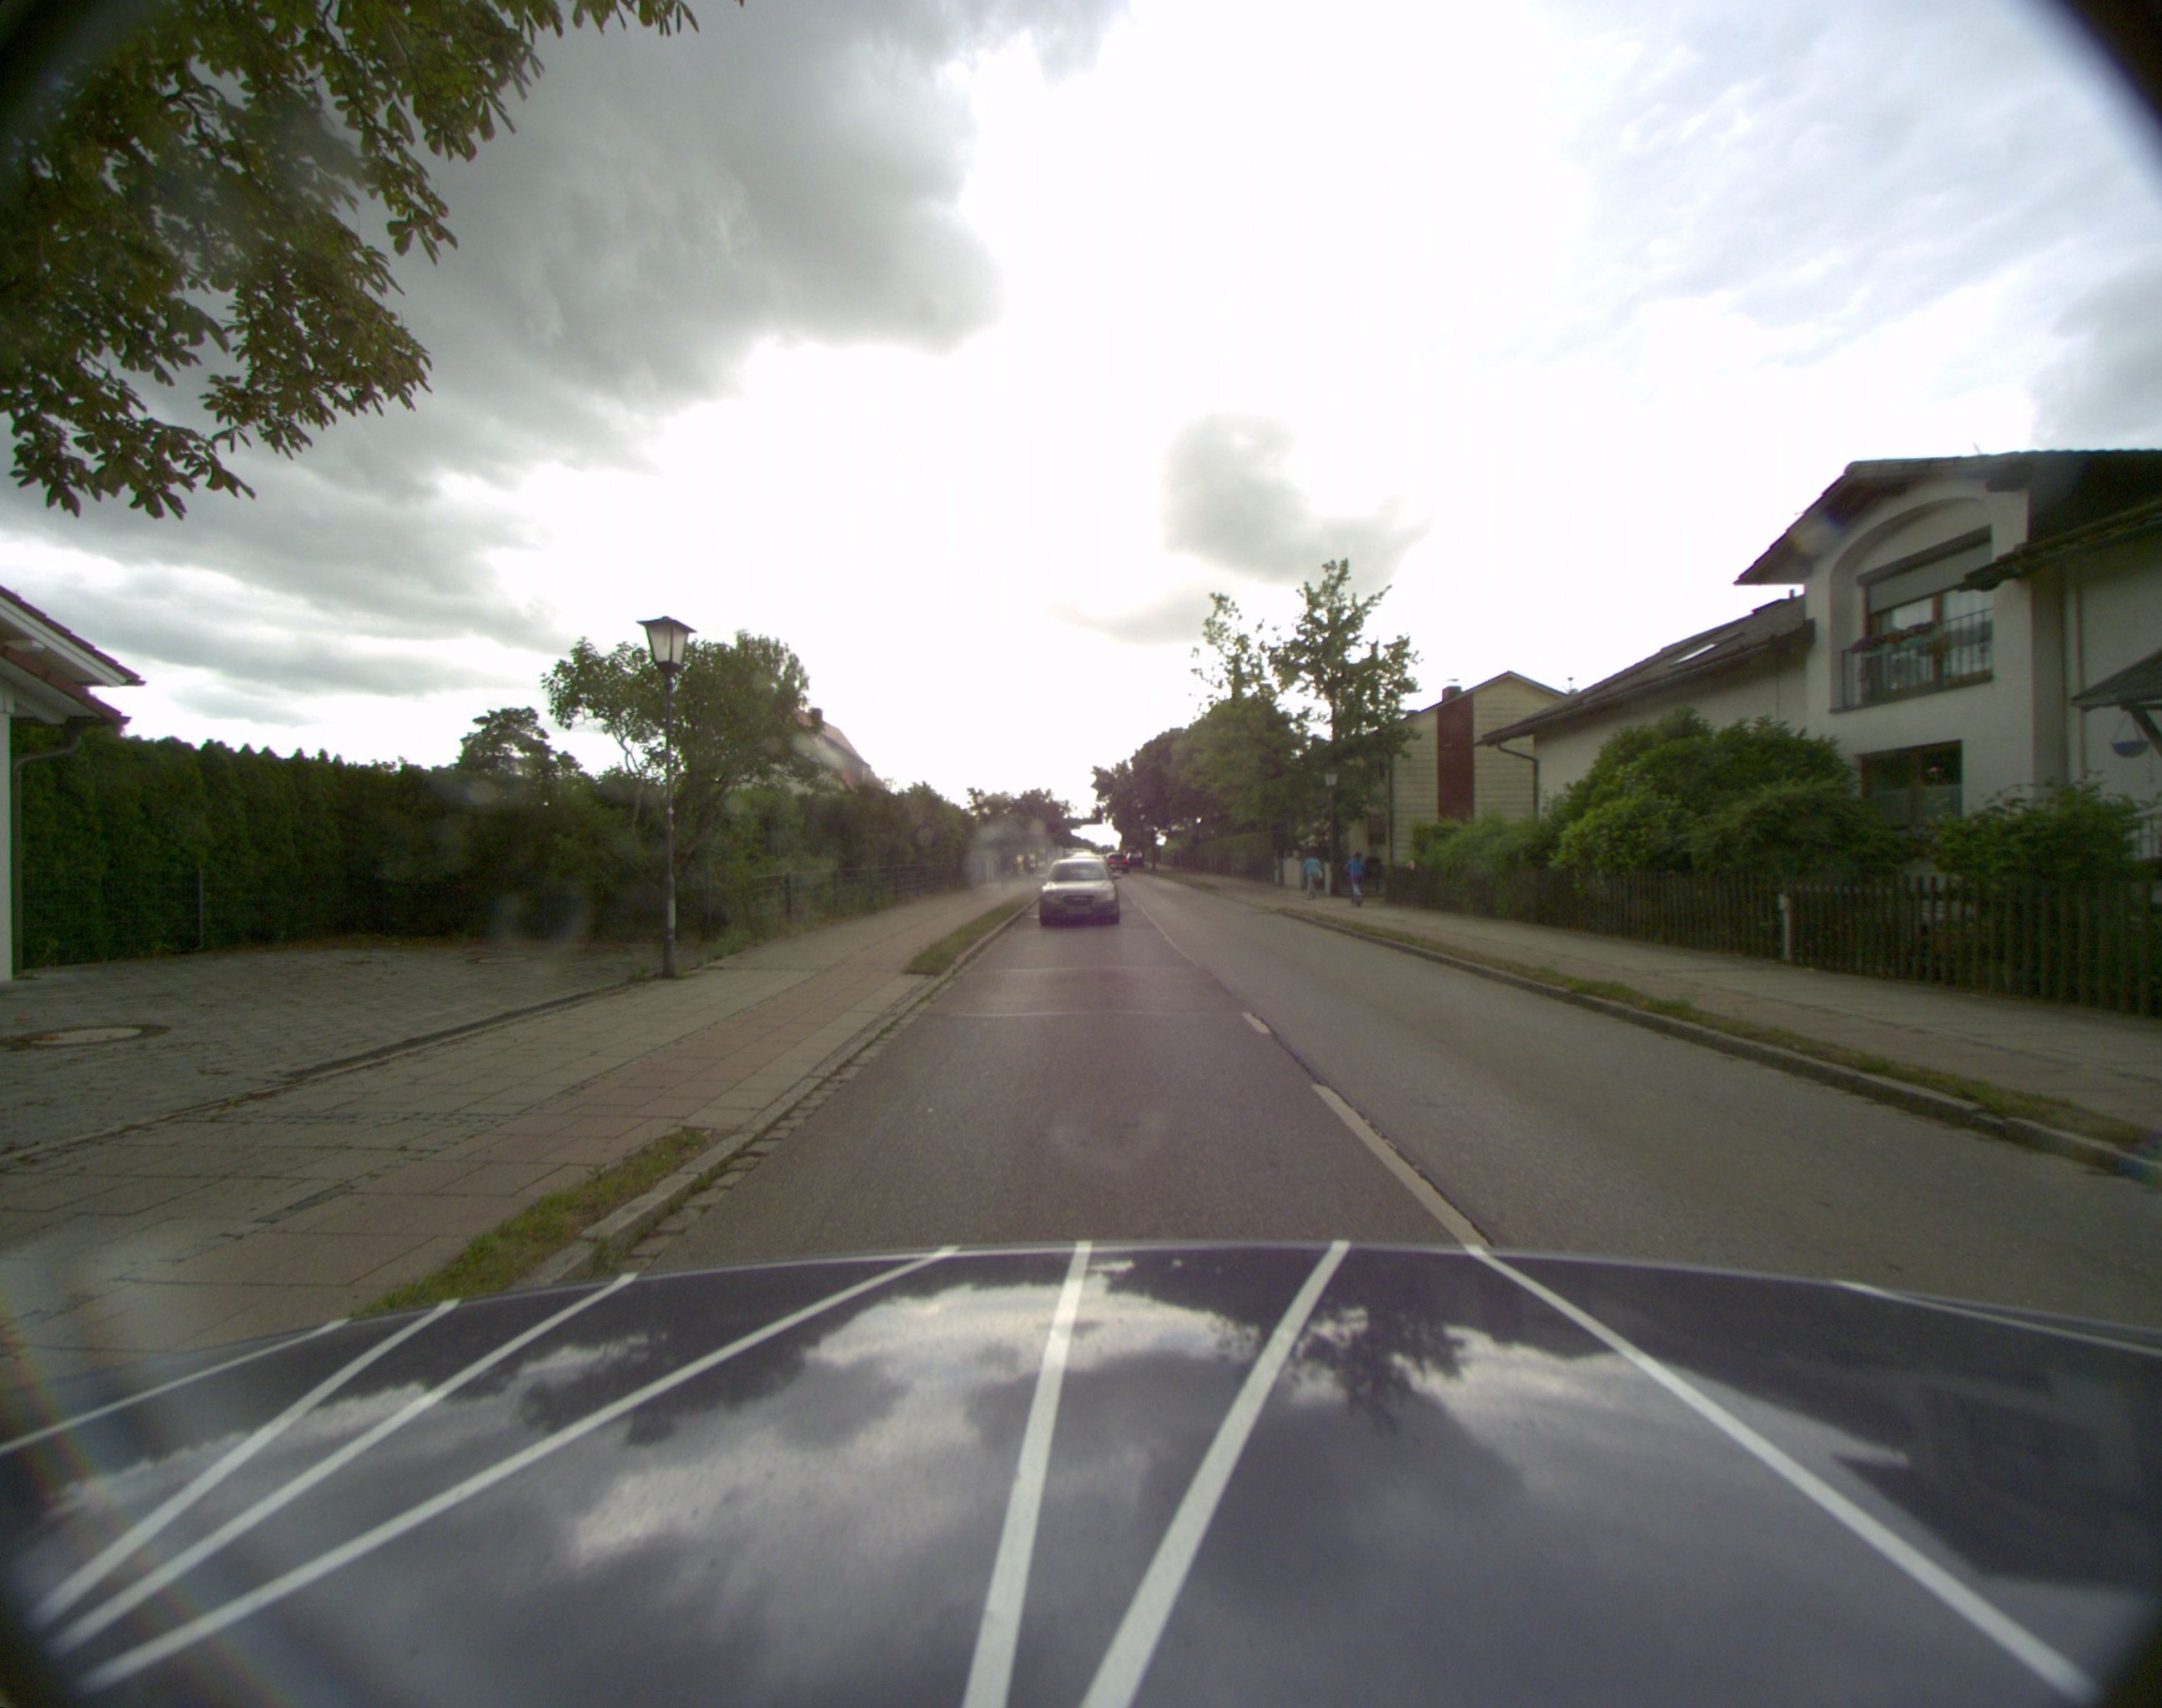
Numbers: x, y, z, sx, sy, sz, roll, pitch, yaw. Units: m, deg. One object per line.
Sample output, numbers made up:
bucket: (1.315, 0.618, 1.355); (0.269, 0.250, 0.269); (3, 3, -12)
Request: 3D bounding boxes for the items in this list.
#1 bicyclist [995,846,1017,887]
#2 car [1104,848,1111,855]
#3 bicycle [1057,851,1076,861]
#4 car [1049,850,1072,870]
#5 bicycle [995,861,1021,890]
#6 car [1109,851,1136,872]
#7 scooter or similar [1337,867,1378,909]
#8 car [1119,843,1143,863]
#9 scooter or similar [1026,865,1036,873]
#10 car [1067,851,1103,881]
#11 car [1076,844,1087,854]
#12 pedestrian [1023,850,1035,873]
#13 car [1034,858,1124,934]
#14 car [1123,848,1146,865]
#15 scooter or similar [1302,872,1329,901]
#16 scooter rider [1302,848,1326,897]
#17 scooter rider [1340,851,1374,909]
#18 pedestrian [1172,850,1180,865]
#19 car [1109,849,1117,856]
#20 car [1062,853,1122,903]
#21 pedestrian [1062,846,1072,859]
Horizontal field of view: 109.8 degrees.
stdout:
bicyclist: (-3.015, 0.513, 30.773); (0.738, 1.623, 0.890); (-1, 1, 3)
car: (7.576, -0.682, 217.460); (1.904, 1.873, 5.010); (-1, 0, 1)
bicycle: (-2.284, 0.381, 121.701); (2.911, 1.541, 0.941); (-1, 1, 23)
car: (-1.717, 0.485, 63.674); (1.867, 1.518, 4.122); (-1, 0, -1)
bicycle: (-2.952, 0.859, 30.846); (0.766, 1.136, 1.845); (-1, 0, 2)
car: (3.354, 0.584, 62.802); (1.935, 1.566, 4.311); (-2, 0, 0)
scooter or similar: (7.159, 0.876, 19.746); (0.663, 1.031, 1.178); (-1, 0, 2)
car: (5.704, -0.138, 87.502); (2.246, 2.258, 4.469); (-1, 0, -3)
scooter or similar: (-3.476, 1.020, 52.671); (0.618, 0.553, 0.741); (-1, 0, -9)
car: (0.207, 0.610, 41.329); (1.866, 1.518, 4.122); (-1, 0, 0)
car: (0.104, -0.920, 153.836); (1.998, 2.002, 4.000); (-1, 0, 0)
pedestrian: (-3.631, 0.502, 53.333); (0.793, 1.592, 0.671); (-1, 1, -2)
car: (-0.041, 0.871, 17.760); (1.809, 1.476, 4.270); (-1, 0, 0)
car: (5.740, 0.214, 81.334); (1.999, 1.739, 3.999); (-1, 0, -2)
scooter or similar: (7.254, 1.010, 23.571); (0.522, 0.845, 1.061); (-1, 0, 1)
scooter rider: (7.240, 0.572, 23.602); (0.504, 1.481, 0.716); (-1, 1, 2)
scooter rider: (7.147, 0.668, 19.685); (0.664, 1.464, 0.580); (-1, 1, 1)
pedestrian: (8.980, 0.319, 71.896); (0.631, 1.429, 0.563); (-1, 1, 0)
car: (7.881, -0.413, 186.771); (1.969, 1.842, 4.947); (-1, 0, 1)
car: (0.353, 0.765, 26.647); (1.866, 1.518, 4.942); (-1, 0, 0)
pedestrian: (-2.287, -0.307, 121.633); (1.252, 2.002, 1.023); (-1, 1, 26)
